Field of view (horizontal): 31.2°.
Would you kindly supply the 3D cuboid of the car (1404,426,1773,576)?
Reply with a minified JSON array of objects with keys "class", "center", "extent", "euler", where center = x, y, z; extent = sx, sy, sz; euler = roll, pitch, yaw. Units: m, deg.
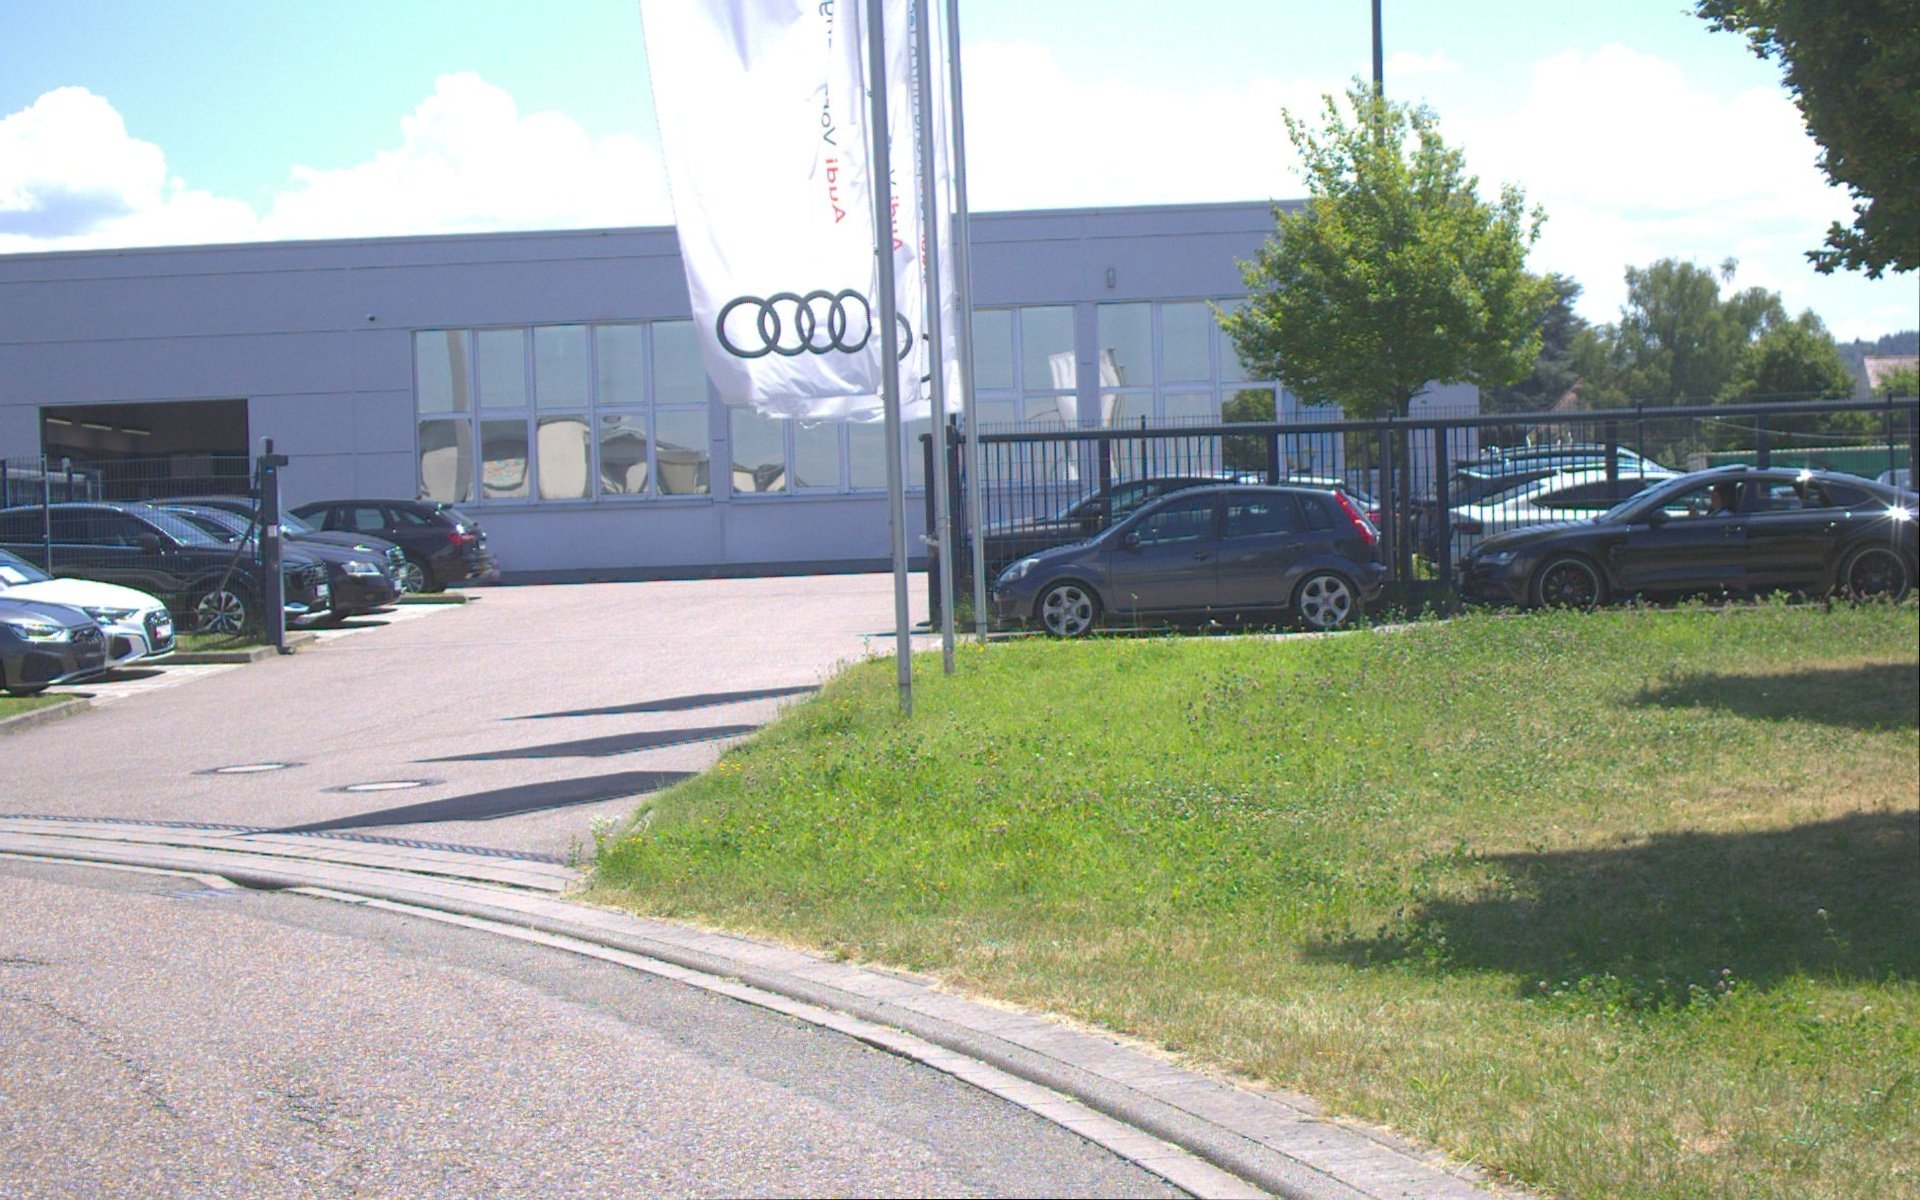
[{"class":"car","center":[7.669,-1.206,42.219],"extent":[4.200,1.624,1.795],"euler":[-2,1,3]}]

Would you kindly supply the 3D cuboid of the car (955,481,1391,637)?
[{"class":"car","center":[2.115,-0.418,33.863],"extent":[4.133,1.344,1.780],"euler":[-2,2,6]}]

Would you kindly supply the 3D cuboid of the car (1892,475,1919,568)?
[{"class":"car","center":[19.407,-1.513,63.111],"extent":[3.987,1.682,2.000],"euler":[-2,1,-1]}]

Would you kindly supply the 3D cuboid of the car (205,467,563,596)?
[{"class":"car","center":[-8.067,-0.983,48.447],"extent":[4.611,1.624,1.968],"euler":[-2,2,3]}]

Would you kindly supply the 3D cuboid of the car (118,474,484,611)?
[{"class":"car","center":[-8.668,-0.778,45.478],"extent":[4.364,1.624,1.968],"euler":[-2,2,3]}]

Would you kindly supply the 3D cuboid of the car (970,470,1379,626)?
[{"class":"car","center":[2.496,-0.631,40.238],"extent":[4.611,1.624,1.968],"euler":[-2,2,3]}]

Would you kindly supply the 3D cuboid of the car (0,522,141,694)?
[{"class":"car","center":[-10.243,0.116,31.474],"extent":[4.929,1.462,1.968],"euler":[-2,2,3]}]

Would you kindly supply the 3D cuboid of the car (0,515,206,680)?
[{"class":"car","center":[-10.231,0.008,34.282],"extent":[4.929,1.523,1.825],"euler":[-2,2,3]}]

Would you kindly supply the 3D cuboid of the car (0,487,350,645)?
[{"class":"car","center":[-9.477,-0.386,39.132],"extent":[4.611,1.624,1.968],"euler":[-2,2,3]}]

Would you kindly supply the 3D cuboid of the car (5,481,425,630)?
[{"class":"car","center":[-9.056,-0.561,42.065],"extent":[4.611,1.624,1.968],"euler":[-2,2,3]}]

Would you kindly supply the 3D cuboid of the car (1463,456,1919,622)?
[{"class":"car","center":[7.206,-0.604,33.115],"extent":[4.559,1.396,1.780],"euler":[-2,2,6]}]

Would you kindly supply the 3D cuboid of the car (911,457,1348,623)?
[{"class":"car","center":[1.849,-0.676,37.655],"extent":[4.611,1.624,1.968],"euler":[-2,2,3]}]

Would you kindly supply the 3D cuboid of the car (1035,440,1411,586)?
[{"class":"car","center":[3.317,-1.100,43.813],"extent":[4.611,1.624,1.968],"euler":[-2,1,3]}]
